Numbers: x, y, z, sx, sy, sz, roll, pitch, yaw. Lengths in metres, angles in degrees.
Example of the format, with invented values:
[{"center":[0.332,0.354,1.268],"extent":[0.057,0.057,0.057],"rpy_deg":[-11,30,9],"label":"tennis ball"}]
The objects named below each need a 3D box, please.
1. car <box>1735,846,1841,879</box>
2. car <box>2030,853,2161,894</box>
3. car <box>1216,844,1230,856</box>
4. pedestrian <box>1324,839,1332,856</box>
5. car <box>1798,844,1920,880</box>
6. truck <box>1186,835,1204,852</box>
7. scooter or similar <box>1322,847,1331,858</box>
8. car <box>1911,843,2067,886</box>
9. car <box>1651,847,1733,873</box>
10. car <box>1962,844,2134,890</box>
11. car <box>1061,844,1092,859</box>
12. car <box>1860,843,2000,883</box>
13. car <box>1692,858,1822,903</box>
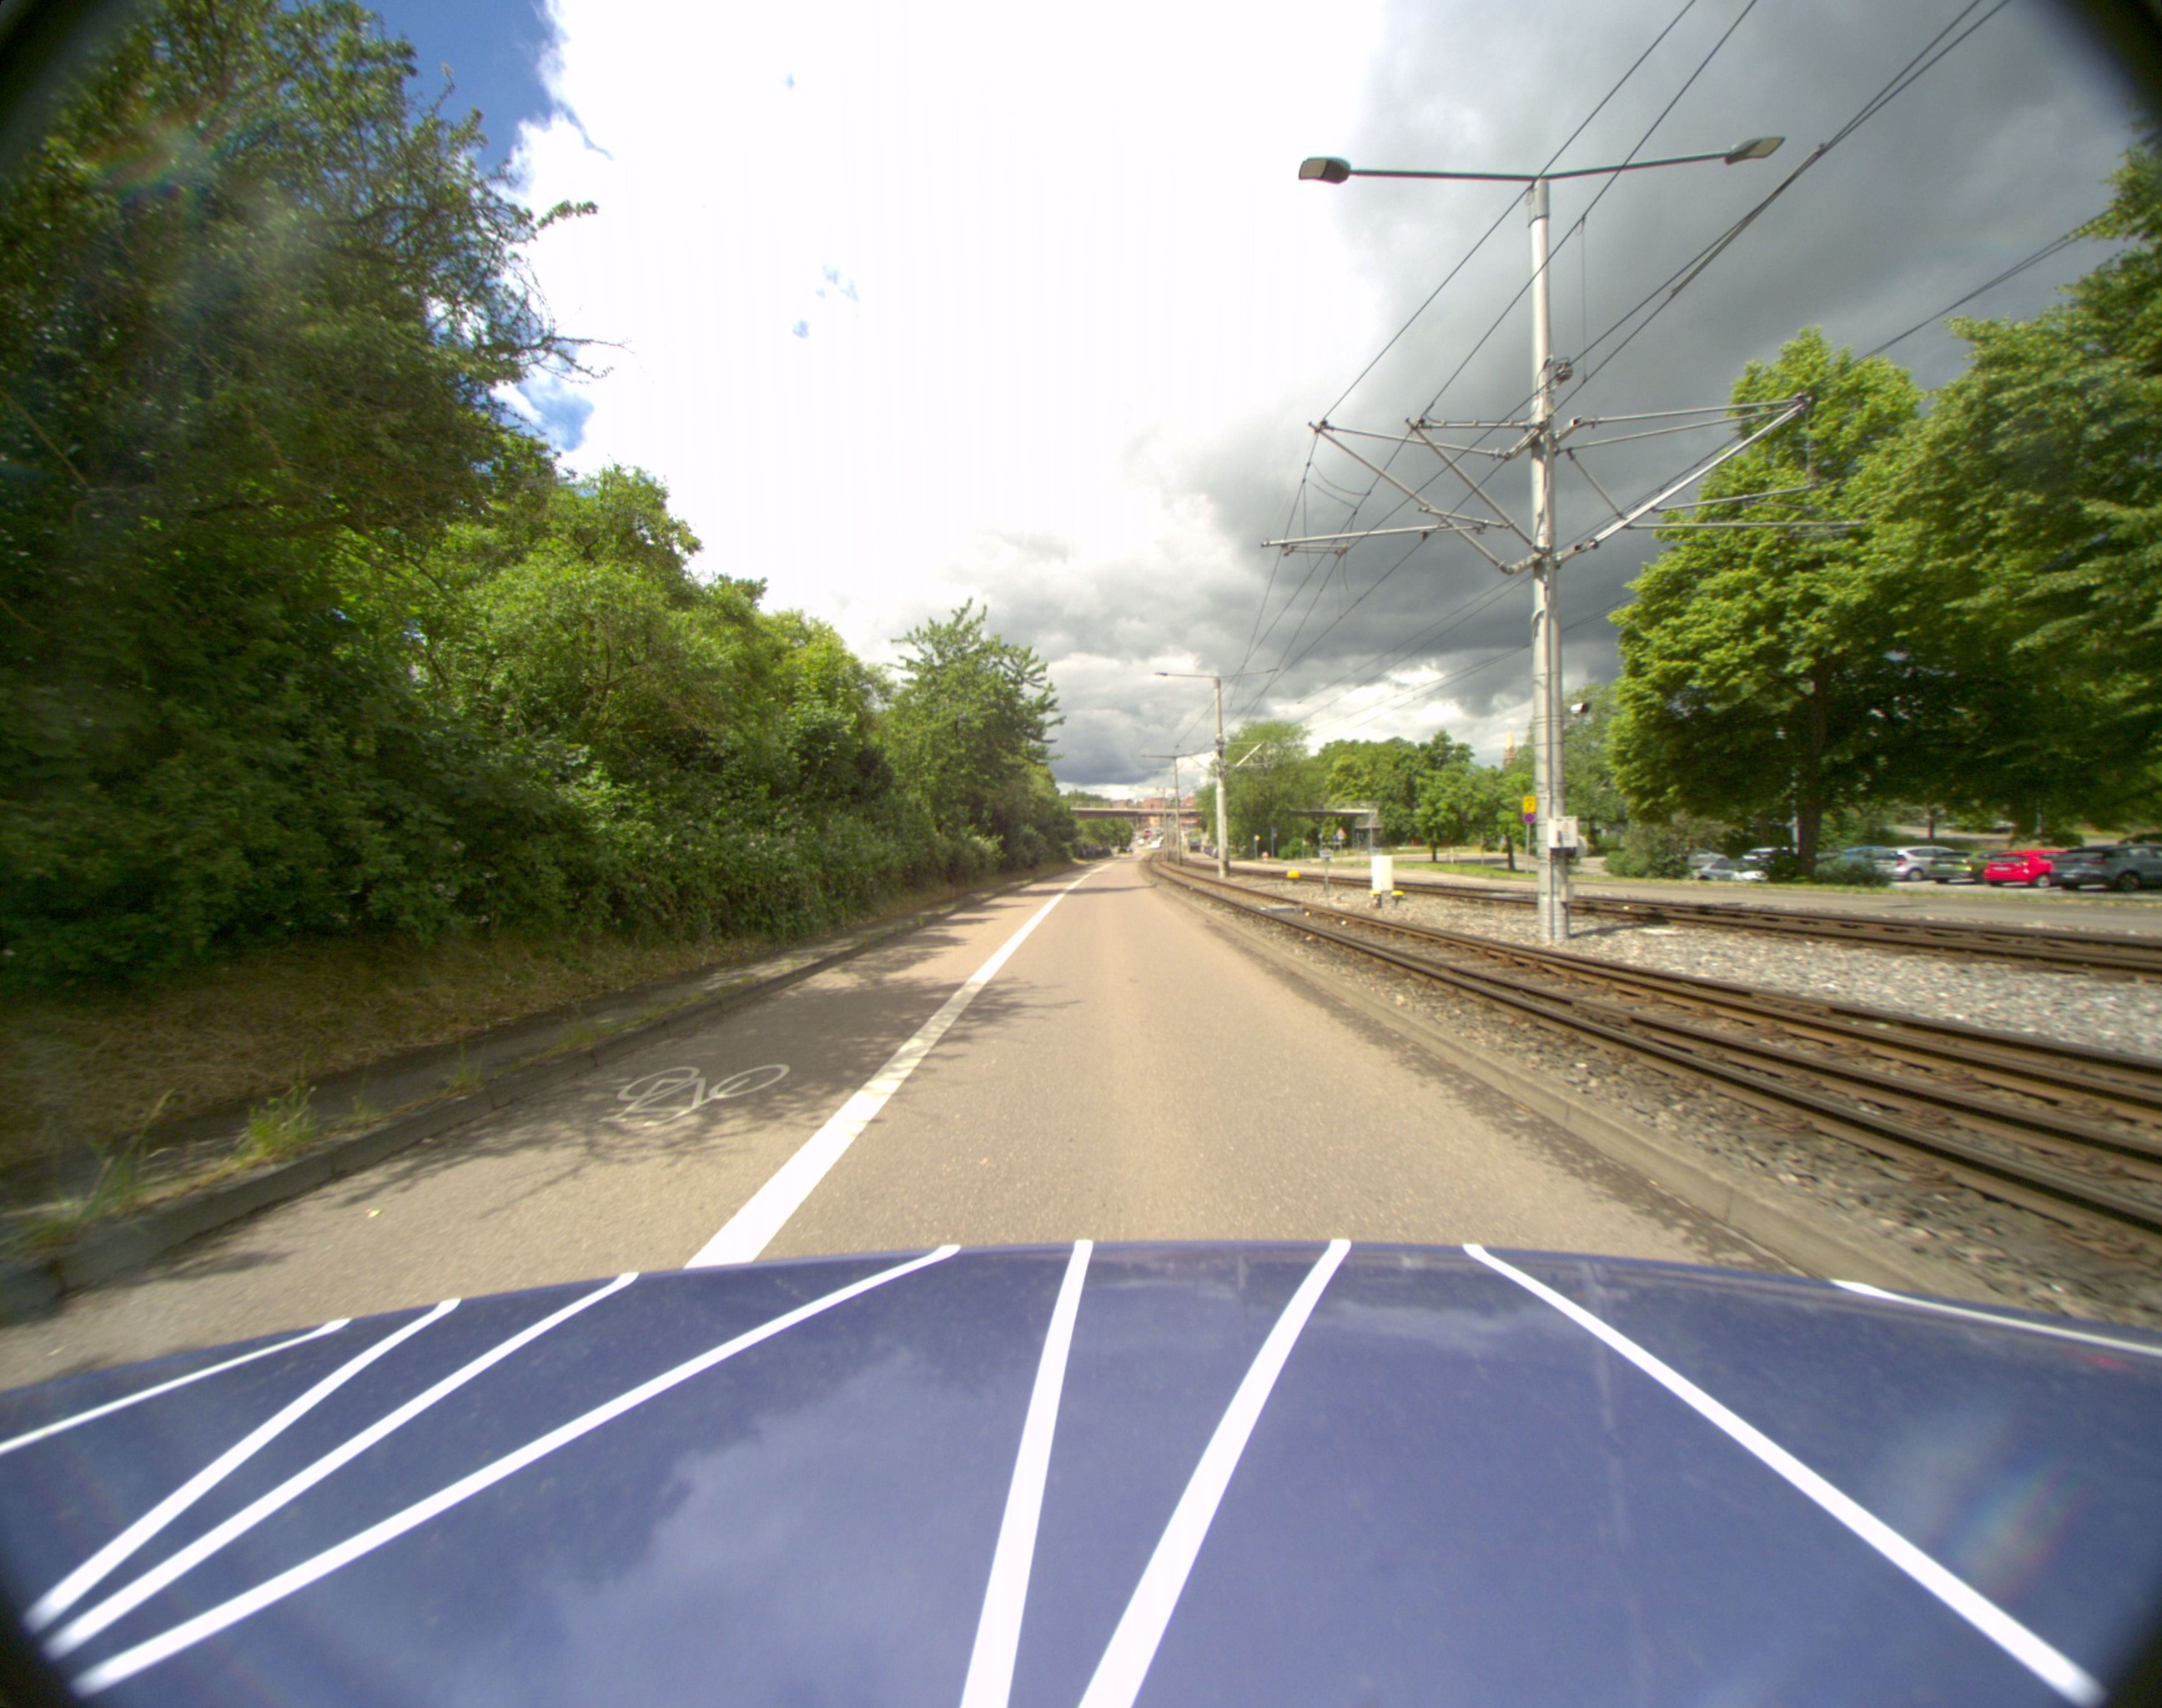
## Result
[{"center":[39.515,0.470,42.546],"extent":[3.923,1.570,1.844],"rpy_deg":[-4,0,9],"label":"car"},{"center":[38.882,0.718,28.327],"extent":[4.090,1.245,1.997],"rpy_deg":[-4,0,8],"label":"car"},{"center":[20.912,-0.623,111.992],"extent":[1.692,1.442,3.899],"rpy_deg":[-4,2,8],"label":"car"},{"center":[26.598,-0.697,81.867],"extent":[0.662,1.746,0.718],"rpy_deg":[-4,3,8],"label":"pedestrian"},{"center":[39.361,0.397,38.550],"extent":[3.962,1.570,1.870],"rpy_deg":[-4,0,8],"label":"car"},{"center":[24.740,-2.358,165.064],"extent":[2.877,3.301,9.030],"rpy_deg":[-4,2,4],"label":"truck"},{"center":[26.170,-0.165,80.963],"extent":[0.712,1.141,0.788],"rpy_deg":[-4,3,9],"label":"scooter or similar"},{"center":[39.226,0.442,32.934],"extent":[3.962,1.570,1.997],"rpy_deg":[-4,0,8],"label":"car"},{"center":[40.119,0.362,49.951],"extent":[3.876,1.383,1.574],"rpy_deg":[-4,2,10],"label":"car"},{"center":[39.013,0.509,30.758],"extent":[3.962,1.570,1.997],"rpy_deg":[-4,0,8],"label":"car"},{"center":[-0.703,-0.404,120.289],"extent":[4.532,1.663,2.000],"rpy_deg":[6,4,7],"label":"car"},{"center":[39.615,0.434,35.554],"extent":[3.962,1.570,1.995],"rpy_deg":[-4,0,8],"label":"car"},{"center":[29.220,1.105,33.056],"extent":[1.994,1.744,4.069],"rpy_deg":[-4,0,1],"label":"car"}]
